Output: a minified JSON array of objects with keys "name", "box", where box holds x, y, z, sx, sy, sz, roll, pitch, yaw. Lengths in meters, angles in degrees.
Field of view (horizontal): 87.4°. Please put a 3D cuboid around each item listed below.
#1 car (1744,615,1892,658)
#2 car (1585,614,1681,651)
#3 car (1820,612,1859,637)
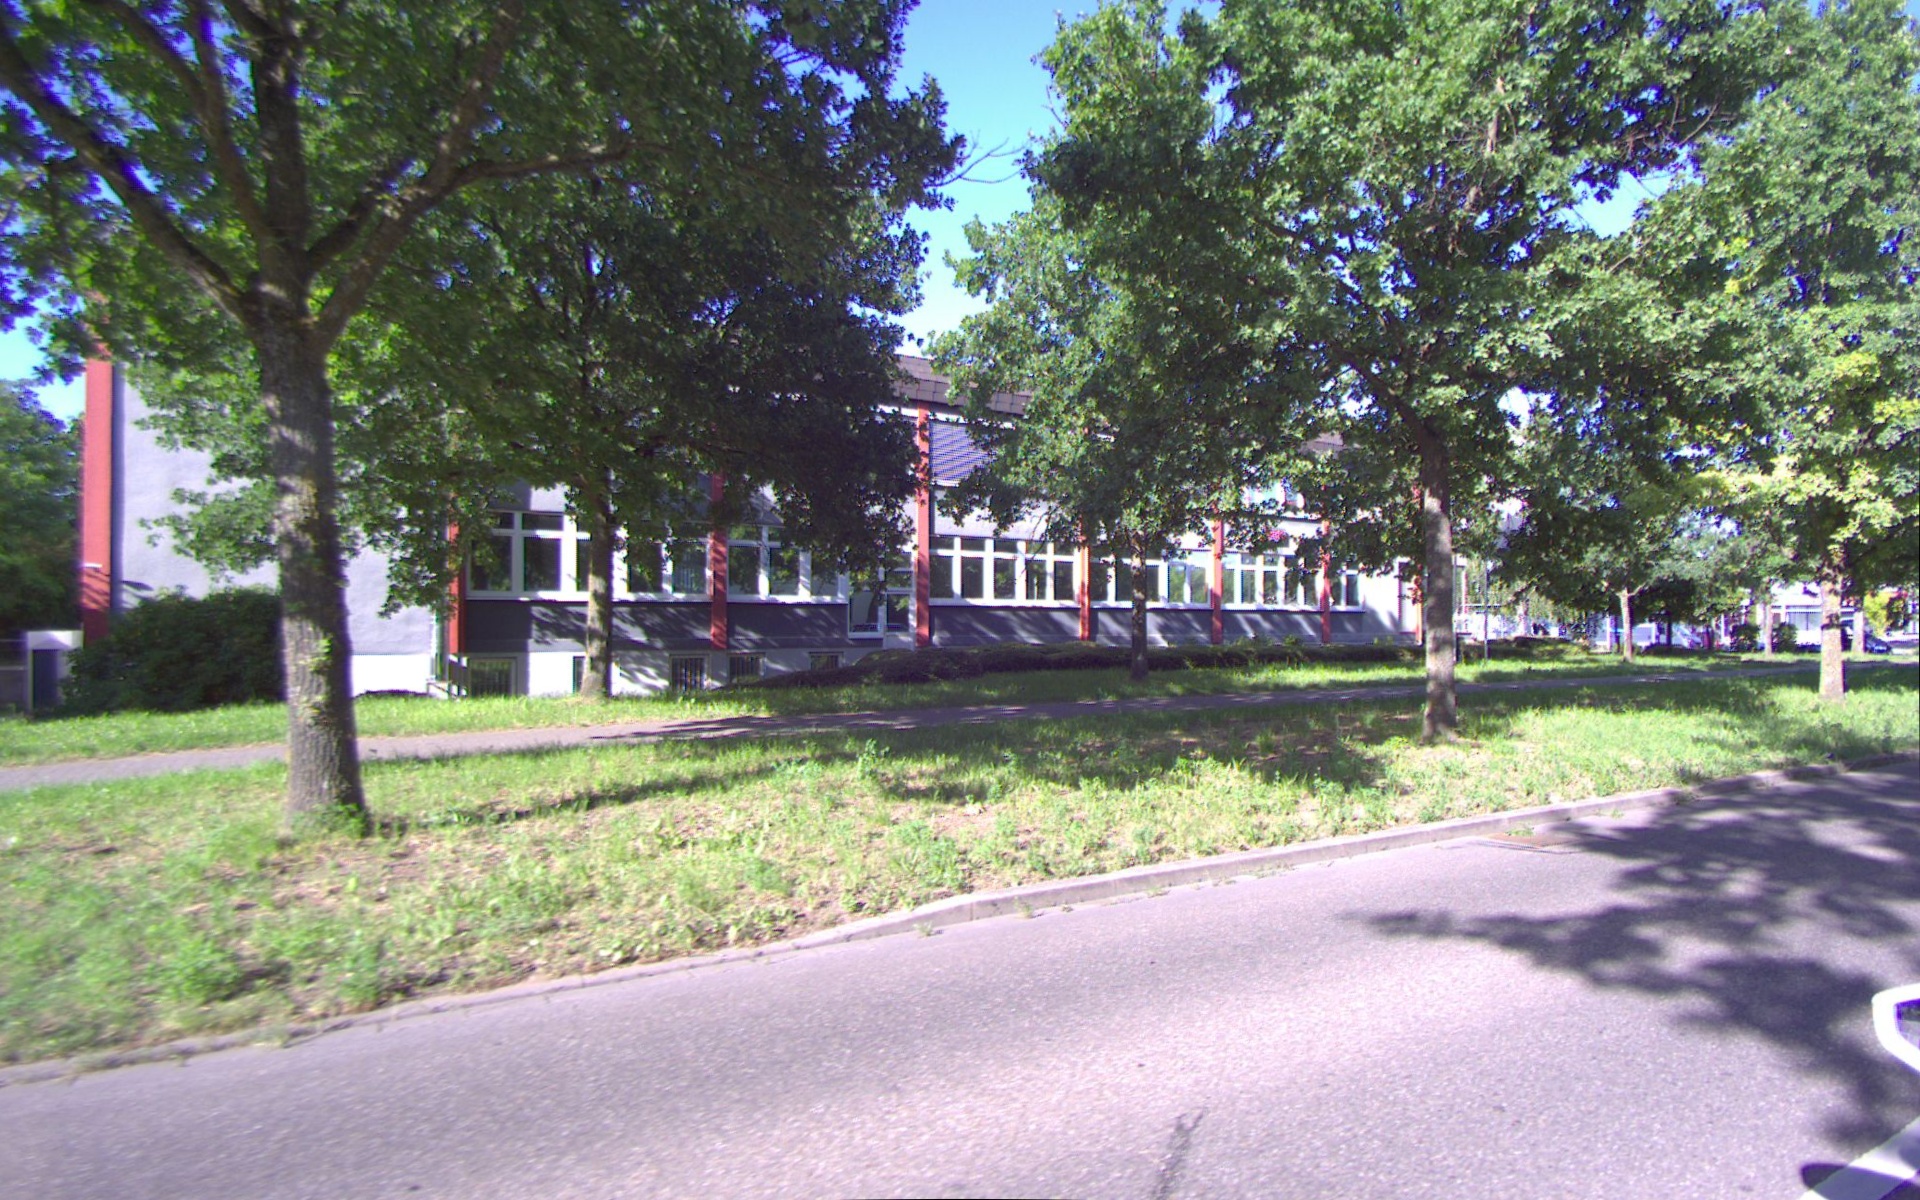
[{"name":"car","box":[45.644,1.903,53.570,1.983,2.040,5.742,0,1,-39]},{"name":"car","box":[32.730,1.550,48.925,1.972,1.664,3.349,1,0,-24]},{"name":"car","box":[82.667,2.312,94.424,3.962,2.265,1.980,1,-1,-36]}]
